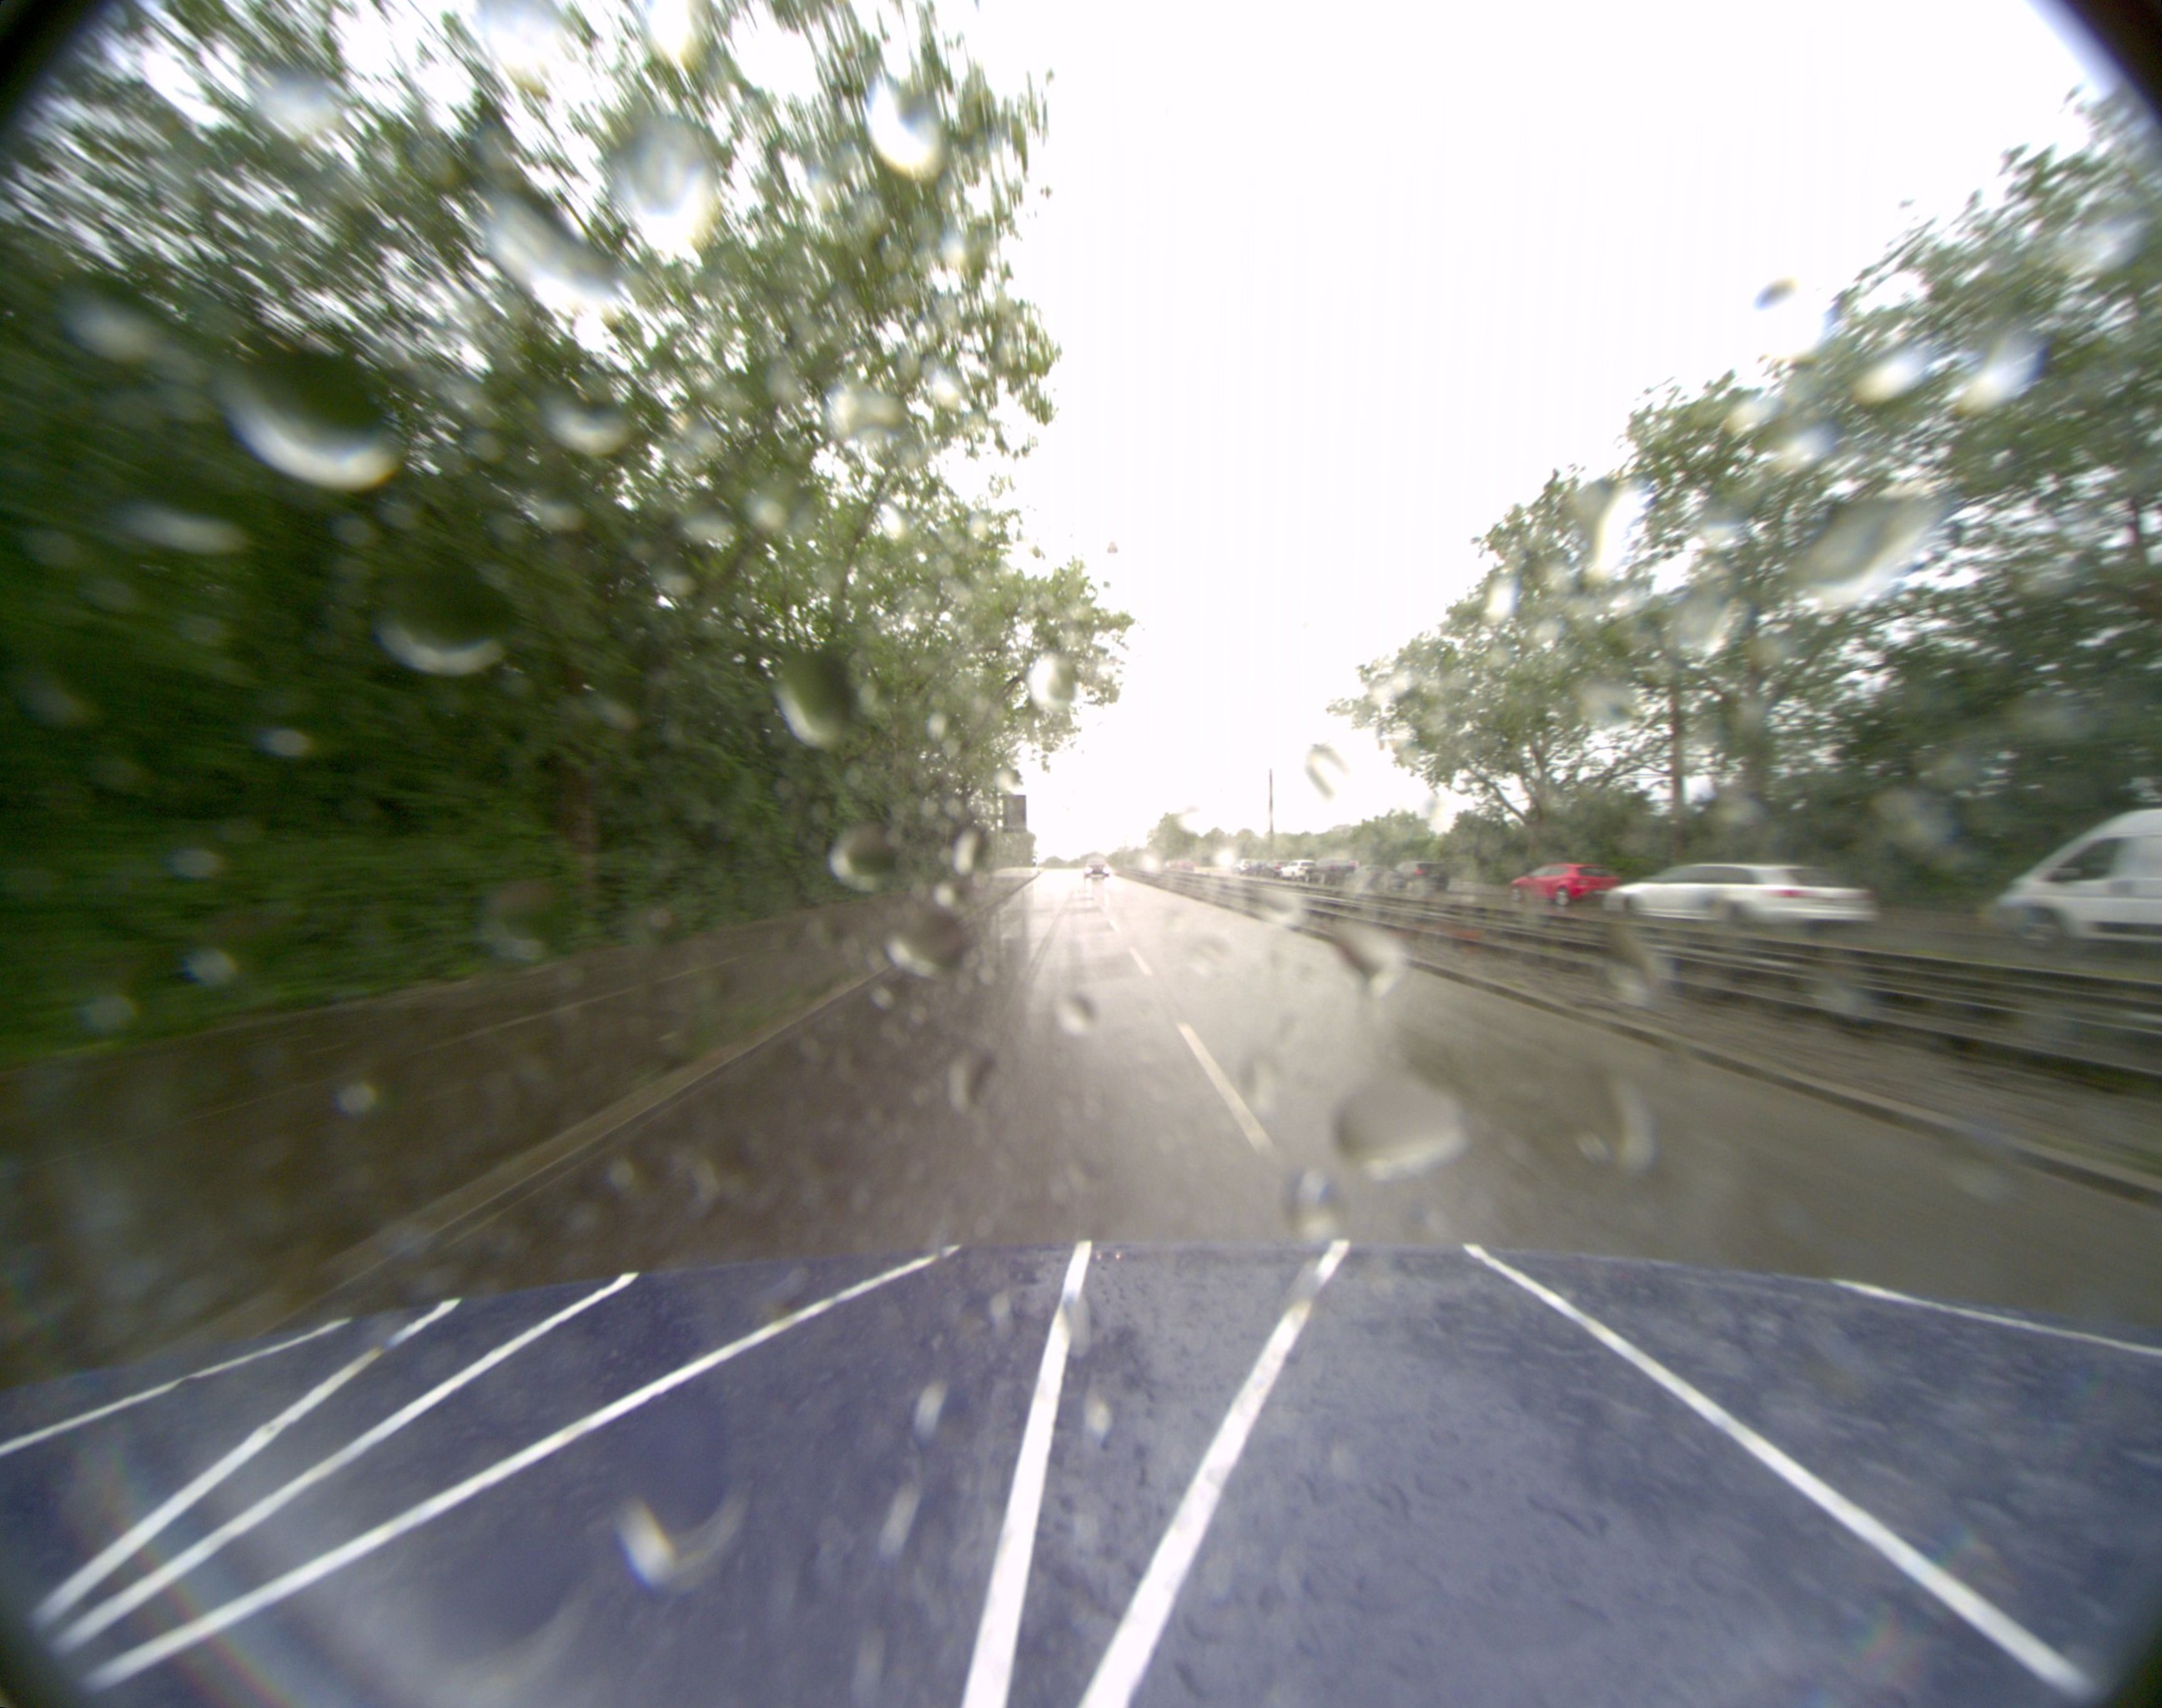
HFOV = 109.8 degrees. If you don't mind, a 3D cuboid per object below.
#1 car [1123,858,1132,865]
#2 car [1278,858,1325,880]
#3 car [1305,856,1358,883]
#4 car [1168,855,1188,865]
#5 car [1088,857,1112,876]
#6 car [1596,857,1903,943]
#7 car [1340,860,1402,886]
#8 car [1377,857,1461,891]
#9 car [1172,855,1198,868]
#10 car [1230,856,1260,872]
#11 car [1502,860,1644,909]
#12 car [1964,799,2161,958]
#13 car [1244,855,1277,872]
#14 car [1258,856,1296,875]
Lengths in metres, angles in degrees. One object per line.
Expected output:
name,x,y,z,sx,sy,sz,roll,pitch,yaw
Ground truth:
car,11.950,1.943,194.156,1.998,1.706,3.999,-1,1,1
car,16.055,1.061,55.594,1.891,1.502,4.577,1,0,-3
car,16.194,0.966,49.354,1.891,1.640,4.368,1,0,-2
car,14.461,0.864,113.382,2.039,1.458,4.917,-1,0,-4
car,1.486,0.970,60.361,1.727,1.425,3.851,-1,0,0
car,13.985,0.865,16.449,2.039,1.543,4.995,1,0,-4
car,16.506,1.029,43.408,1.891,1.371,3.964,1,0,-2
car,16.769,0.950,37.939,2.039,1.543,4.383,1,0,-4
car,12.065,0.809,88.158,2.039,1.458,4.916,1,0,-4
car,15.558,0.897,72.197,1.653,1.423,4.151,1,0,-5
car,17.162,1.005,26.806,2.039,1.543,4.384,1,0,-2
car,17.771,0.393,11.139,2.336,2.432,6.137,1,0,-2
car,15.836,0.844,67.251,1.653,1.423,3.924,1,0,-5
car,15.858,0.934,61.623,1.653,1.423,4.130,1,0,-7
